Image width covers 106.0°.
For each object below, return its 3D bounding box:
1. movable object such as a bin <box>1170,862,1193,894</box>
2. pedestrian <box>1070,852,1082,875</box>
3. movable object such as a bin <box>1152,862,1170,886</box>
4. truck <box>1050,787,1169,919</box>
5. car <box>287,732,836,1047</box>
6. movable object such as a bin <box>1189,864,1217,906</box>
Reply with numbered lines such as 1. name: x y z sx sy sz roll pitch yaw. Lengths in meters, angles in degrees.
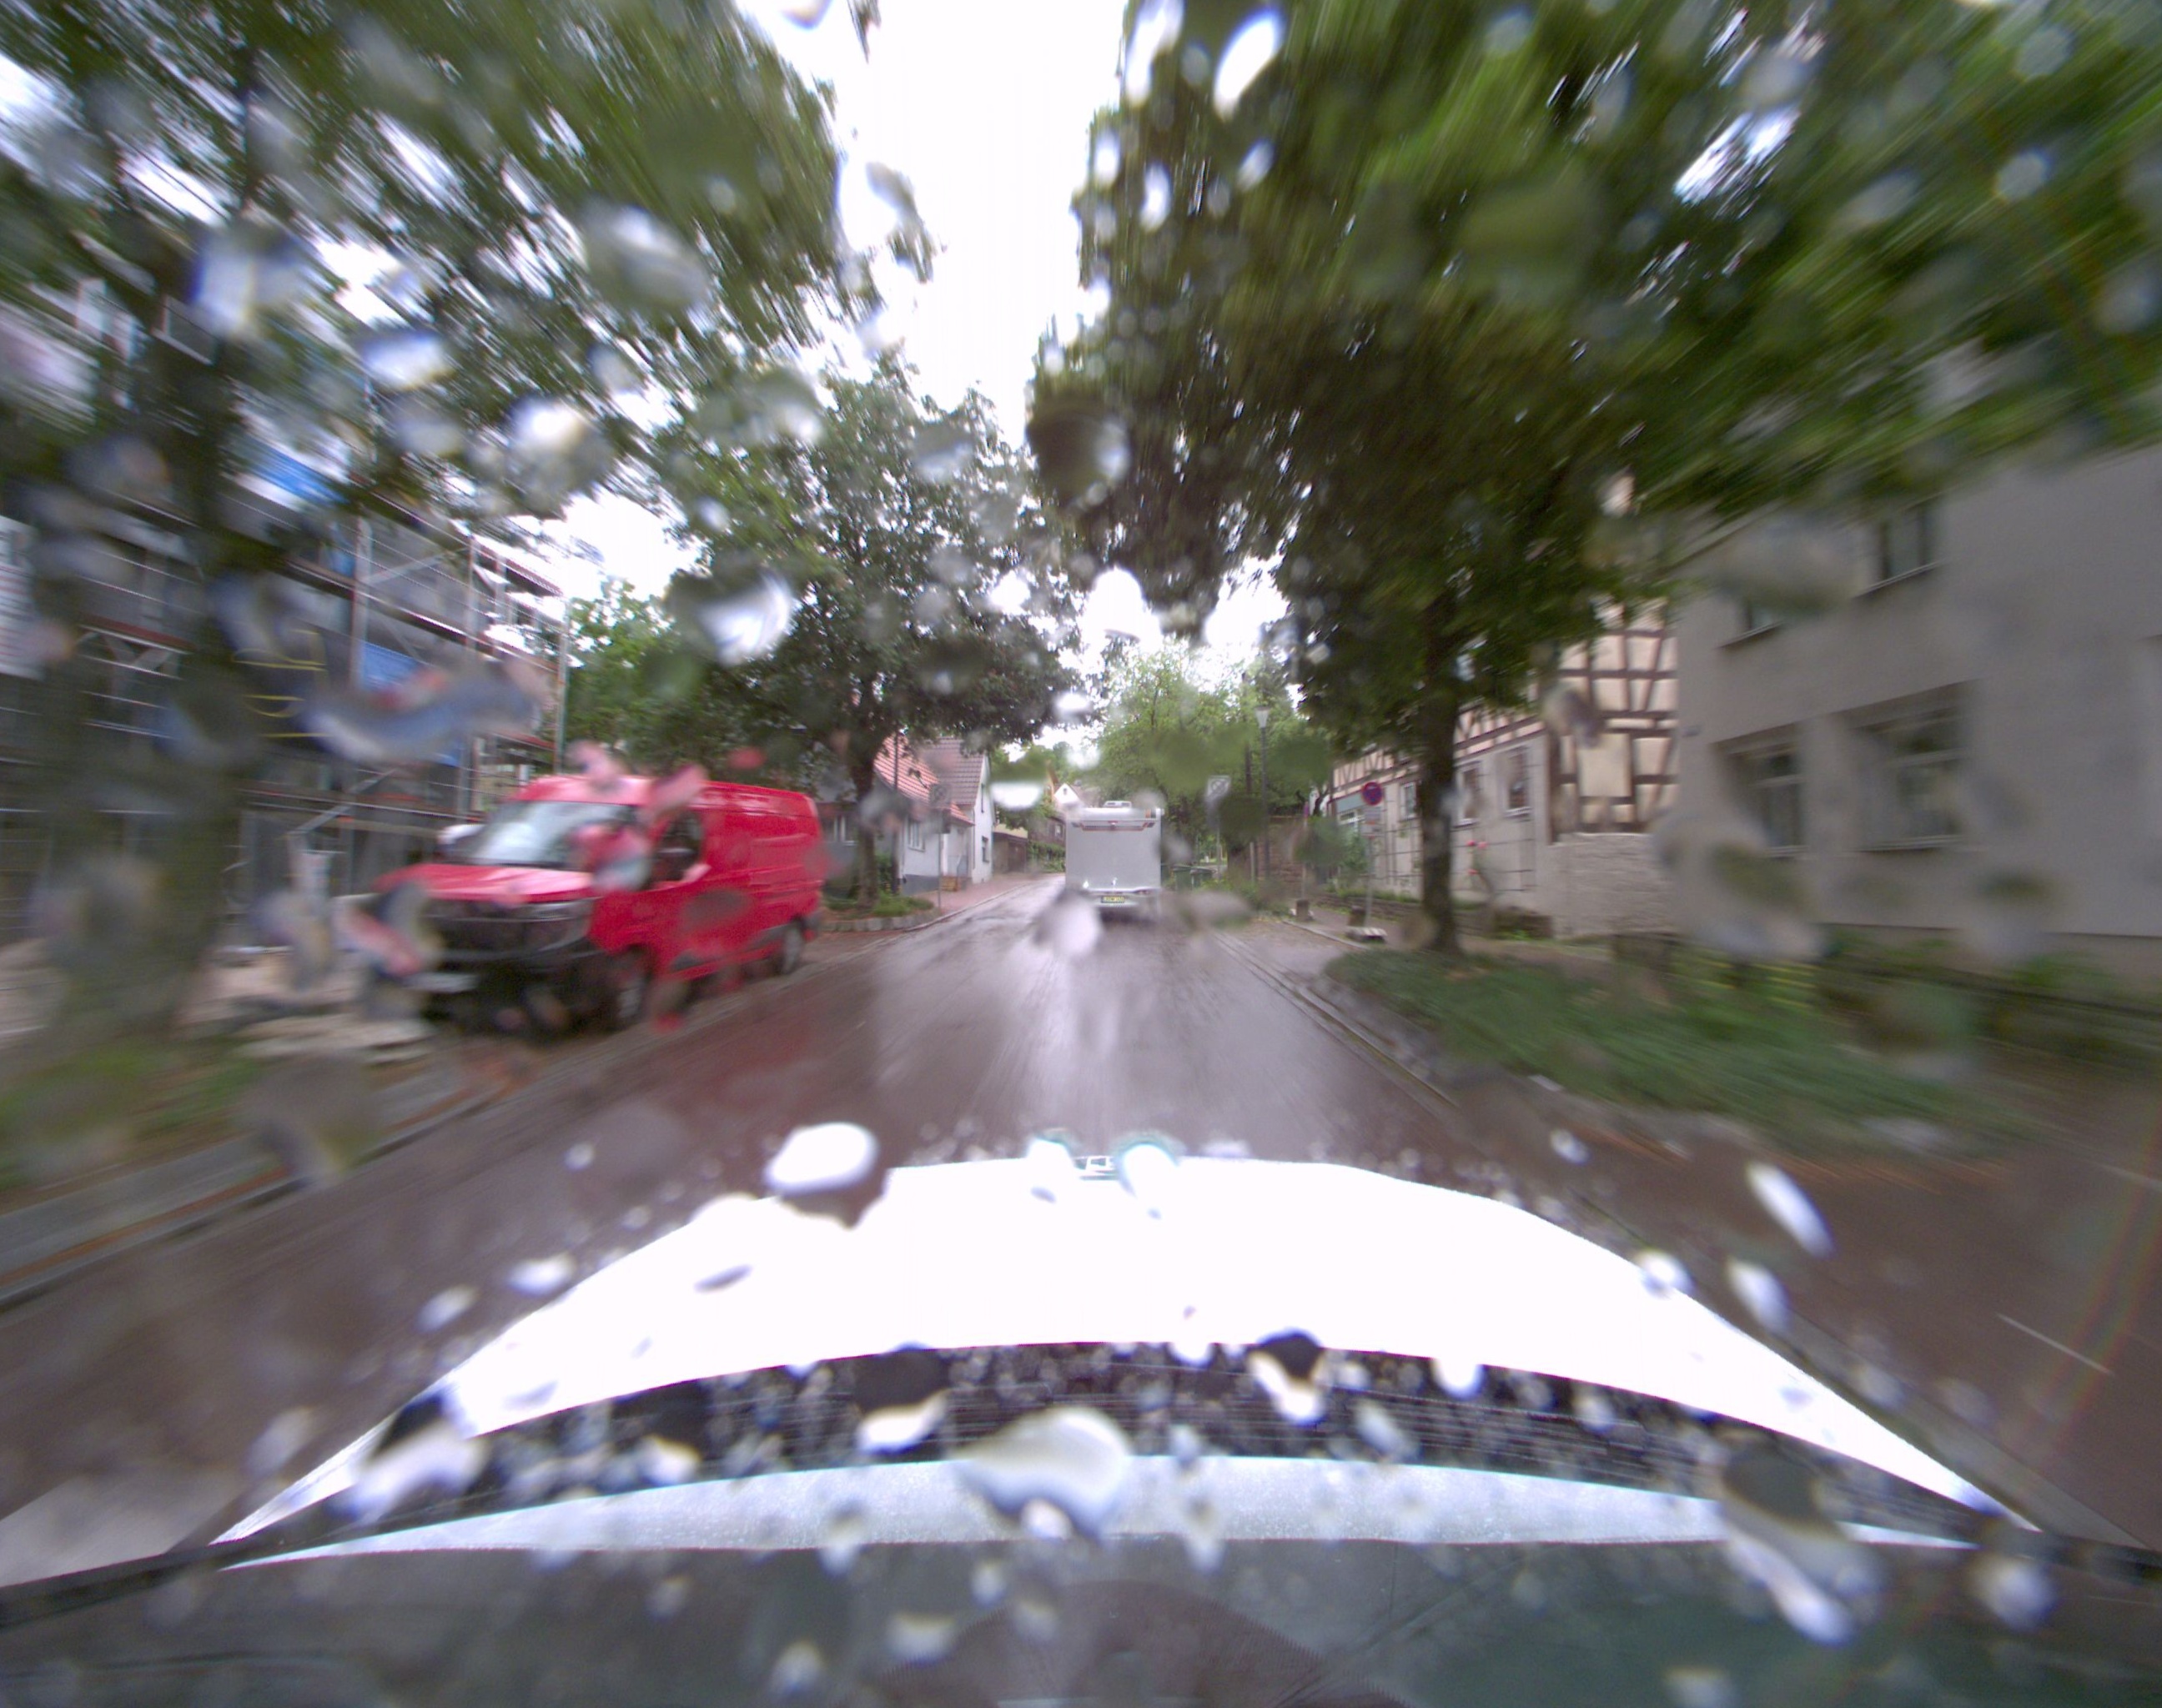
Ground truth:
1. movable object such as a bin: 3.635 0.866 29.457 0.721 1.143 0.703 0 -1 -1
2. pedestrian: -0.410 0.755 66.579 0.788 1.868 0.920 0 -1 15
3. movable object such as a bin: 3.910 0.975 39.759 0.766 1.107 0.885 -2 -1 2
4. truck: 0.717 0.028 21.512 2.685 2.986 6.238 0 -1 1
5. car: -5.021 0.263 9.371 2.293 2.483 5.791 0 0 4
6. movable object such as a bin: 3.515 0.884 23.544 0.718 1.213 0.727 0 -1 2
